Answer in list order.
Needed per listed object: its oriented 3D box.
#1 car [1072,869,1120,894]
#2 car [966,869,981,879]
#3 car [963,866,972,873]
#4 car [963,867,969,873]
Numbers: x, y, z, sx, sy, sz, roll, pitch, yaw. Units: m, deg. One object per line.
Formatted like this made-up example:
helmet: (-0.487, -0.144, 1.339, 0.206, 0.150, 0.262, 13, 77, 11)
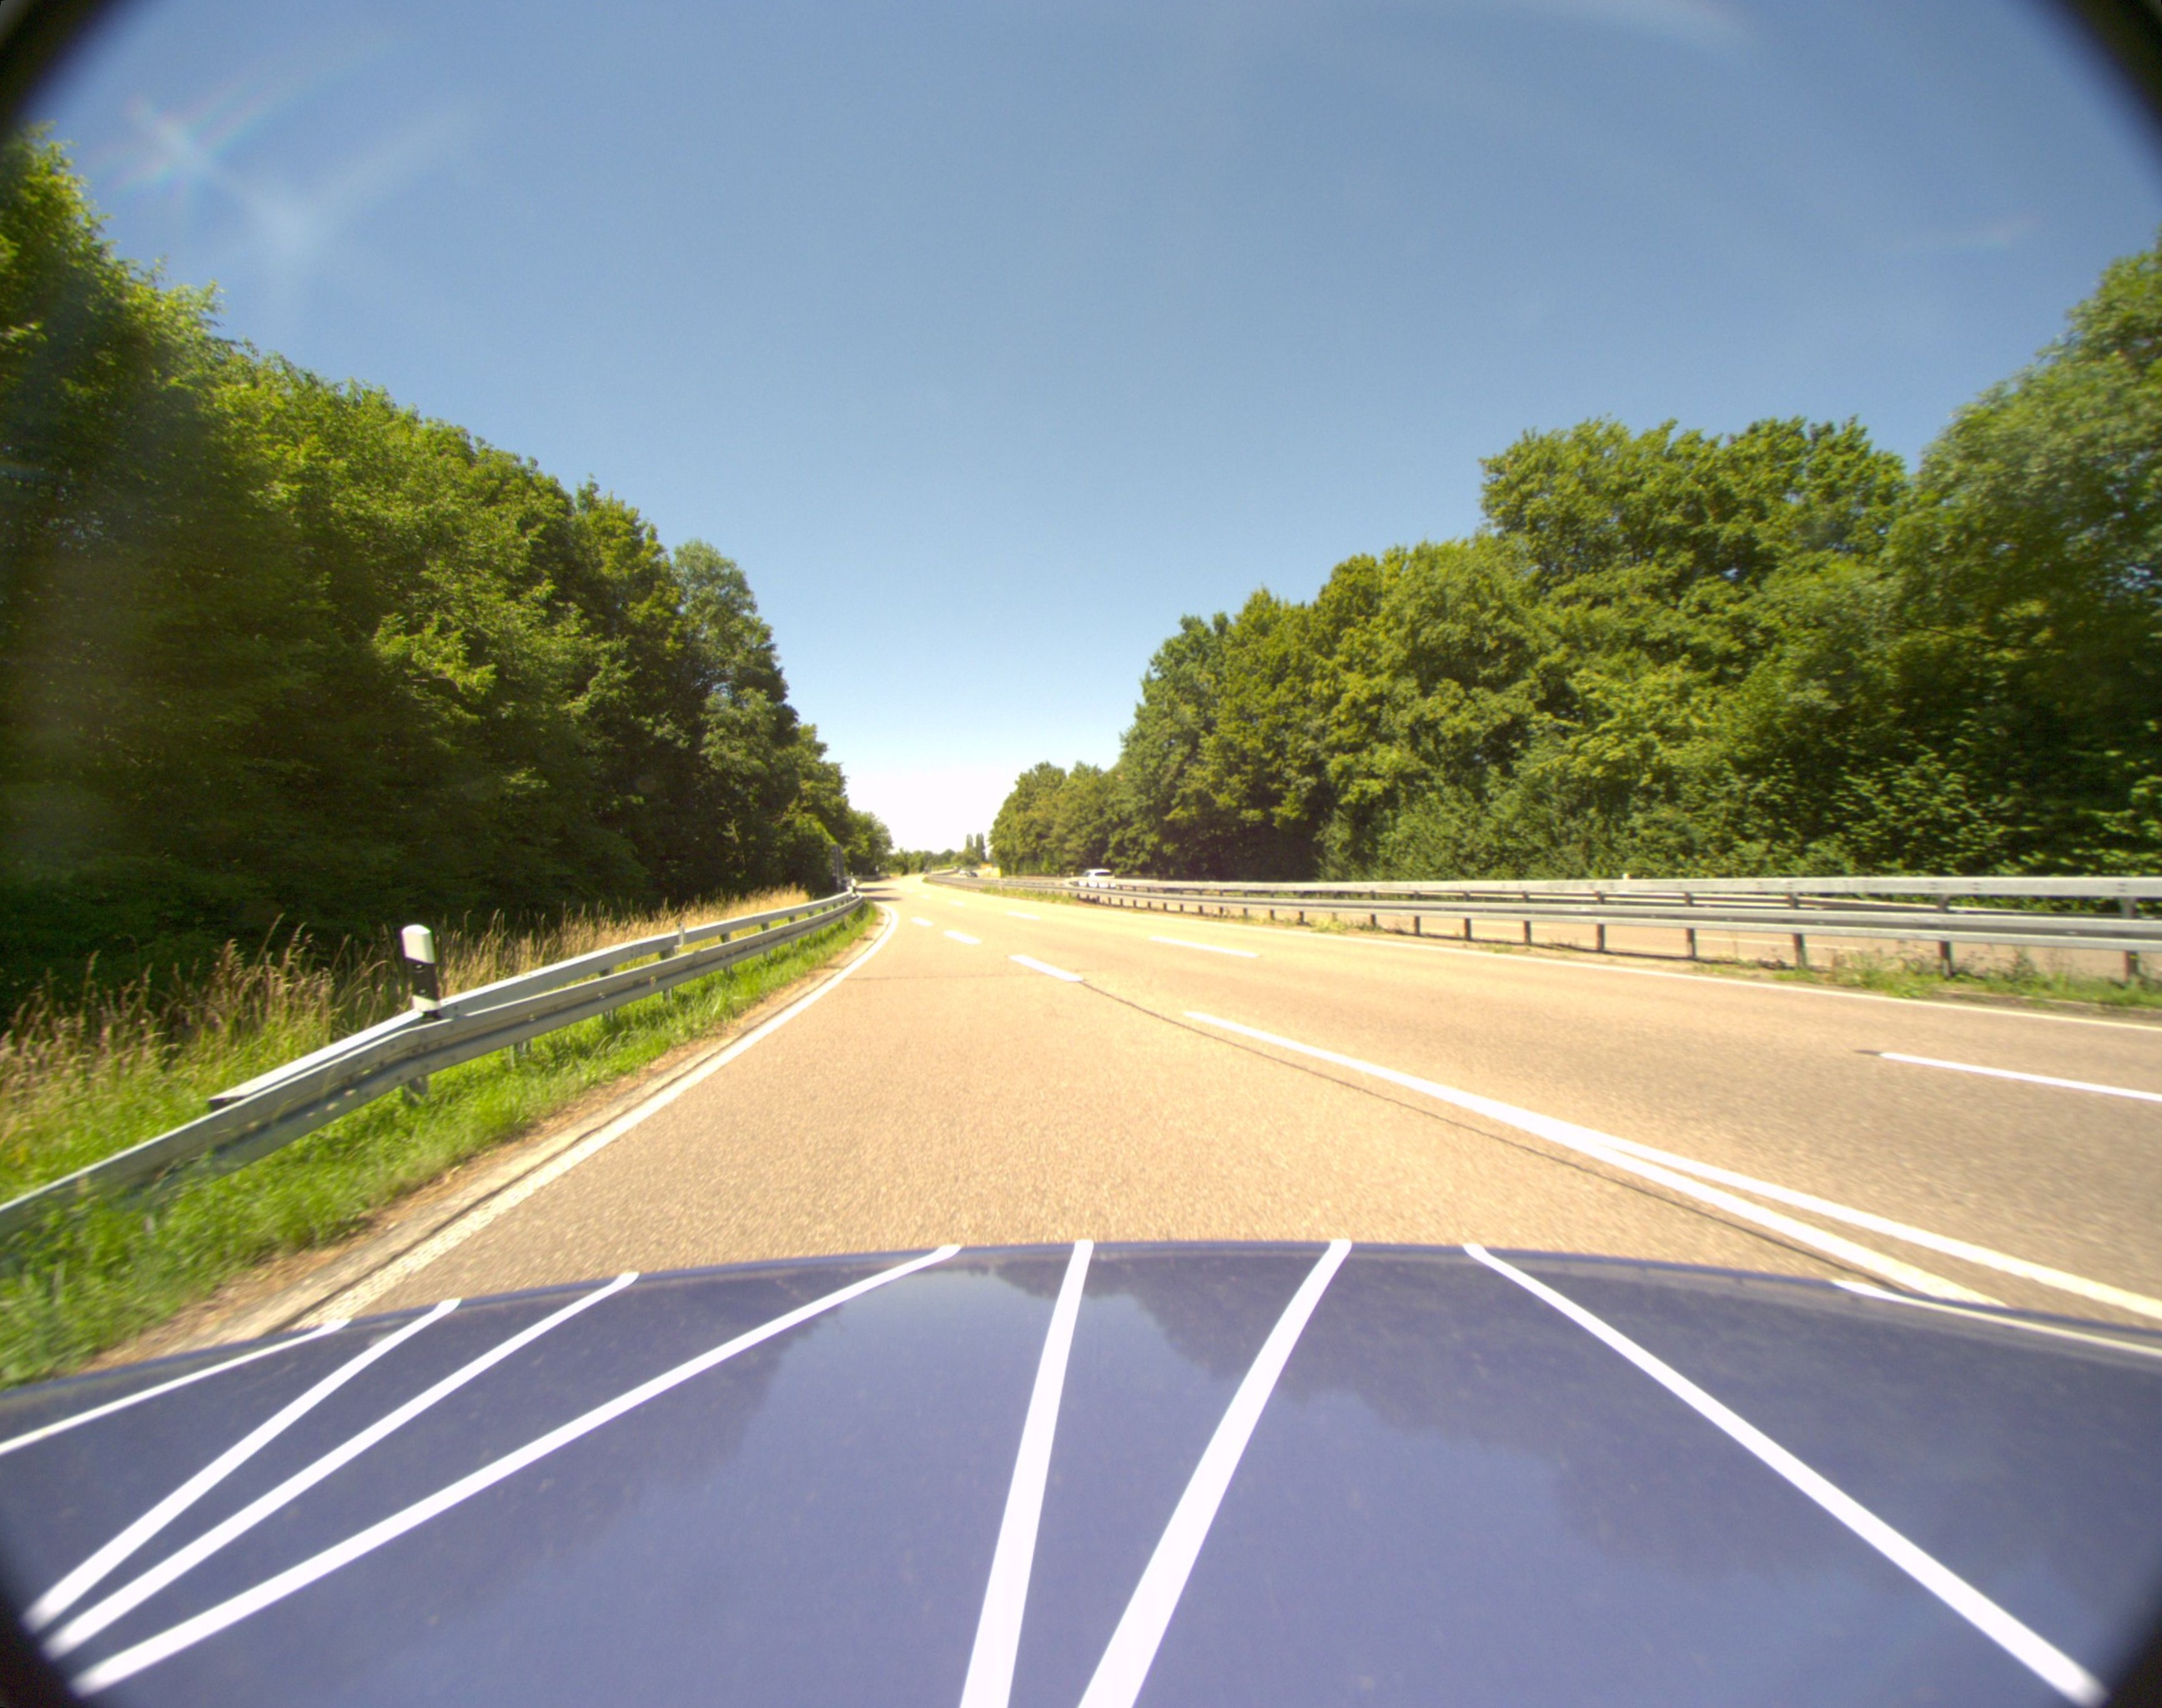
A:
car: (0.931, 1.807, 51.085, 1.763, 1.563, 4.407, 0, -1, -20)
car: (-18.462, 3.411, 130.320, 1.762, 1.519, 4.678, 0, -1, -16)
car: (-28.460, 3.882, 189.980, 1.657, 1.519, 3.993, 0, -1, -16)
car: (-32.903, 4.580, 217.246, 1.656, 1.597, 4.217, -1, -1, -8)
